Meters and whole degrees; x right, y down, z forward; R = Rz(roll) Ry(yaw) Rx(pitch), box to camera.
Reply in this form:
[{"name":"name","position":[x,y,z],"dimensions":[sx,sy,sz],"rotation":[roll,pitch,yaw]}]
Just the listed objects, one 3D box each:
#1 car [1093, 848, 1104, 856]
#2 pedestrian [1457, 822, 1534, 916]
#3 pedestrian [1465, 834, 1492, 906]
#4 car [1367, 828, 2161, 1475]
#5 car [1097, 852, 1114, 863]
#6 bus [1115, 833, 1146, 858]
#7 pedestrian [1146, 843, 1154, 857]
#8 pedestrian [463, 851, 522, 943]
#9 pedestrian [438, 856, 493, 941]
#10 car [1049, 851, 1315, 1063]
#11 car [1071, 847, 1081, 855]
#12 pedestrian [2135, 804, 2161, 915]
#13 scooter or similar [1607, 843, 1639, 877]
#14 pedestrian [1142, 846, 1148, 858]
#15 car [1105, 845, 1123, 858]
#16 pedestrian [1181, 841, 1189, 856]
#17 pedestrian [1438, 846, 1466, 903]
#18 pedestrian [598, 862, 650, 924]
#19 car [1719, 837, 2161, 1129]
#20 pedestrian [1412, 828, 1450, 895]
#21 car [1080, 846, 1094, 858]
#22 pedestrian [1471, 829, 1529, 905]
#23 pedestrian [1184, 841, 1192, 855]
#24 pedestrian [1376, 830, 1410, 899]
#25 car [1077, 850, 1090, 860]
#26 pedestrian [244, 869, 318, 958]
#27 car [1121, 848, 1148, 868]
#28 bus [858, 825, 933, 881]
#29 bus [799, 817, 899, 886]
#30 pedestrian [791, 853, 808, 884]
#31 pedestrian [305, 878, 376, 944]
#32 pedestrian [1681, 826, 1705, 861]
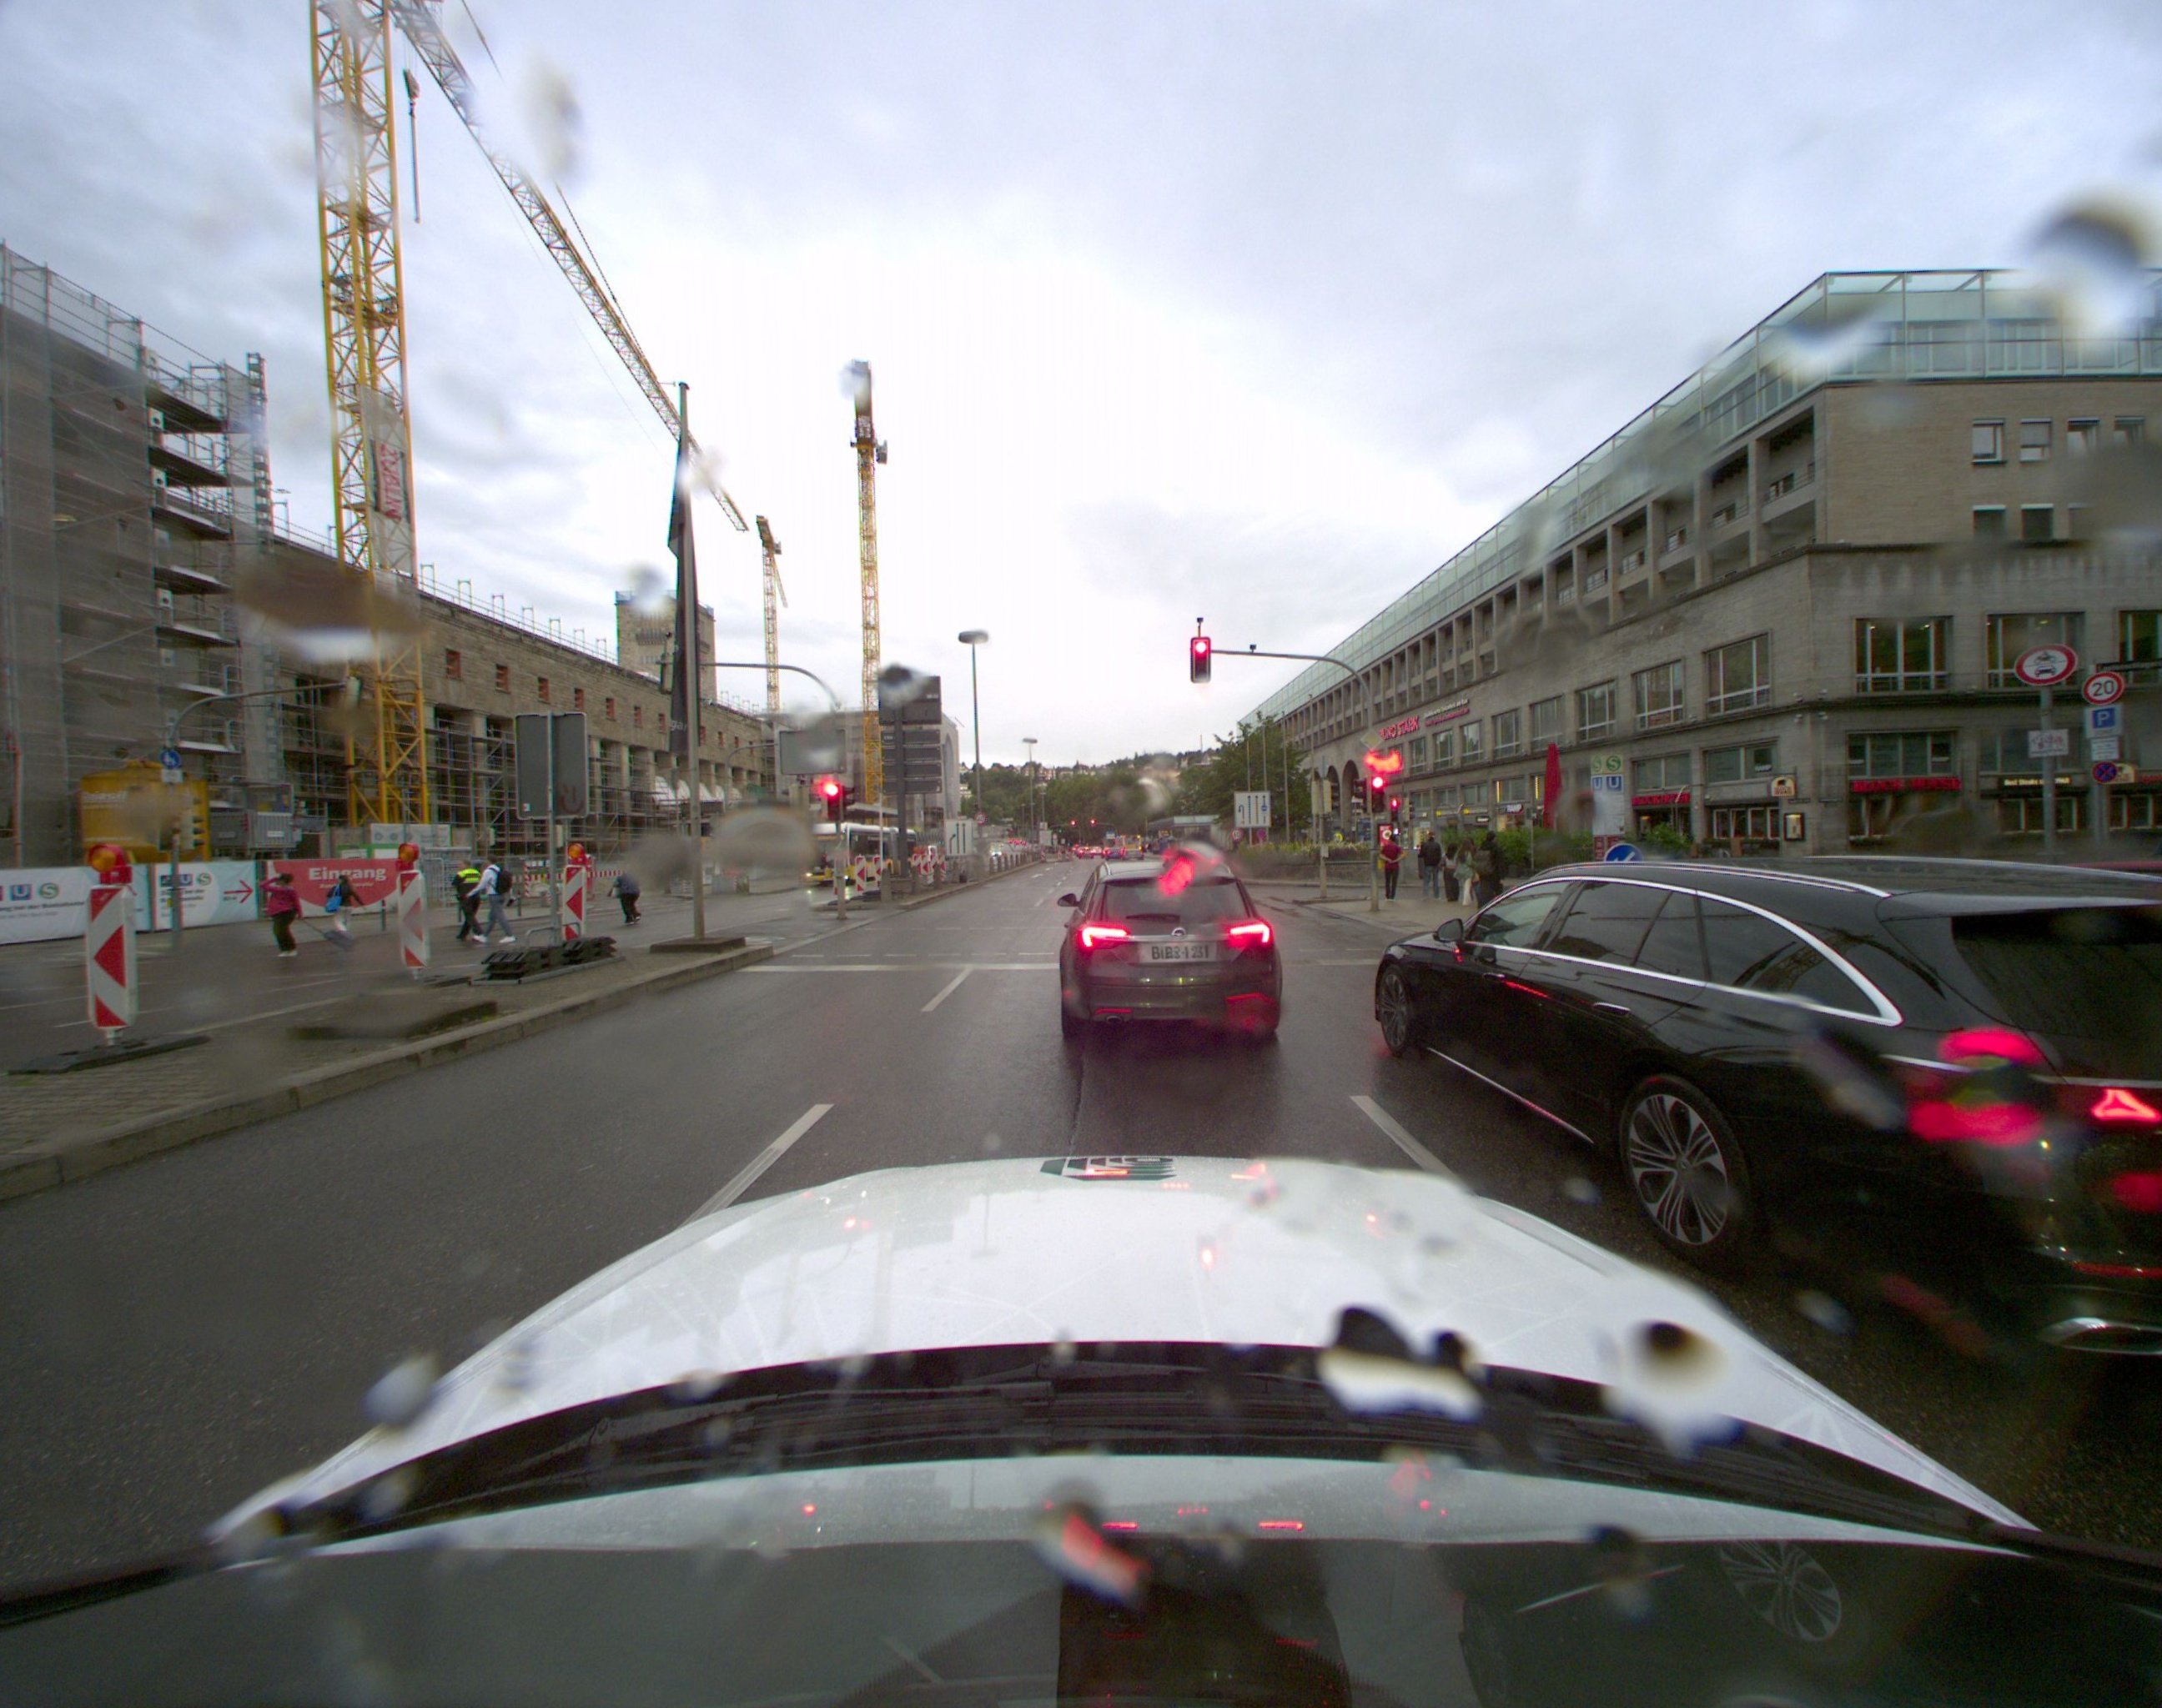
[{"name":"car","position":[2.953,-0.389,139.909],"dimensions":[1.839,1.398,3.565],"rotation":[0,0,2]},{"name":"pedestrian","position":[8.126,0.295,16.001],"dimensions":[1.093,1.751,0.653],"rotation":[-3,-1,-1]},{"name":"pedestrian","position":[9.992,0.398,20.475],"dimensions":[0.477,1.751,0.670],"rotation":[-4,-1,22]},{"name":"car","position":[3.117,0.697,4.201],"dimensions":[1.787,1.501,4.630],"rotation":[0,0,2]},{"name":"car","position":[3.214,0.518,107.832],"dimensions":[1.751,1.398,4.391],"rotation":[0,0,-7]},{"name":"bus","position":[7.221,-1.119,120.940],"dimensions":[4.158,3.469,14.660],"rotation":[0,0,2]},{"name":"pedestrian","position":[11.525,-0.639,135.892],"dimensions":[1.194,2.435,1.229],"rotation":[0,-1,3]},{"name":"pedestrian","position":[-12.334,0.883,17.083],"dimensions":[0.798,1.890,0.618],"rotation":[0,-1,-7]},{"name":"pedestrian","position":[-13.641,0.965,18.081],"dimensions":[0.576,1.836,0.820],"rotation":[0,-1,2]},{"name":"car","position":[0.758,0.735,7.739],"dimensions":[1.868,1.486,4.001],"rotation":[0,0,1]},{"name":"car","position":[-0.942,-0.616,150.222],"dimensions":[1.752,1.398,3.565],"rotation":[0,0,2]},{"name":"pedestrian","position":[17.485,0.083,12.971],"dimensions":[0.770,1.756,0.507],"rotation":[-1,-1,45]},{"name":"scooter or similar","position":[19.372,0.200,29.122],"dimensions":[0.290,1.189,1.014],"rotation":[0,-1,-17]},{"name":"pedestrian","position":[11.746,-0.428,149.672],"dimensions":[1.194,2.149,1.229],"rotation":[0,-1,3]},{"name":"car","position":[3.609,-0.263,90.033],"dimensions":[1.748,1.398,4.647],"rotation":[0,0,-1]},{"name":"pedestrian","position":[12.143,-0.619,95.320],"dimensions":[0.761,1.690,0.824],"rotation":[0,-1,-3]},{"name":"pedestrian","position":[9.456,0.510,20.765],"dimensions":[0.625,1.428,0.492],"rotation":[-1,-1,24]},{"name":"pedestrian","position":[-11.908,1.004,21.235],"dimensions":[0.866,1.561,0.790],"rotation":[0,-1,16]},{"name":"car","position":[6.461,0.656,4.838],"dimensions":[1.868,1.486,4.527],"rotation":[0,0,1]},{"name":"pedestrian","position":[9.066,0.195,21.113],"dimensions":[0.753,1.717,0.466],"rotation":[0,-1,-2]},{"name":"car","position":[0.796,-0.222,103.939],"dimensions":[1.747,1.398,4.538],"rotation":[0,0,0]},{"name":"pedestrian","position":[9.285,0.284,18.080],"dimensions":[0.791,1.626,0.899],"rotation":[0,-1,-2]},{"name":"pedestrian","position":[12.388,-0.688,94.082],"dimensions":[0.761,1.690,0.824],"rotation":[0,-1,-3]},{"name":"pedestrian","position":[8.104,0.276,21.151],"dimensions":[0.563,1.752,0.684],"rotation":[-1,-1,44]},{"name":"car","position":[0.401,0.146,121.148],"dimensions":[1.839,1.398,3.565],"rotation":[0,0,2]},{"name":"pedestrian","position":[-16.058,1.180,16.360],"dimensions":[0.797,1.717,0.619],"rotation":[-3,0,-2]},{"name":"car","position":[3.858,0.260,58.971],"dimensions":[1.838,1.398,3.668],"rotation":[0,0,2]},{"name":"bus","position":[-13.083,-0.047,58.398],"dimensions":[2.658,3.602,10.215],"rotation":[0,0,2]},{"name":"bus","position":[-13.407,-0.097,48.147],"dimensions":[2.658,3.602,10.243],"rotation":[0,0,2]},{"name":"pedestrian","position":[-15.610,0.804,45.152],"dimensions":[0.657,1.680,0.644],"rotation":[0,-1,2]},{"name":"pedestrian","position":[-18.261,1.391,20.107],"dimensions":[0.912,1.563,0.899],"rotation":[0,-1,-2]},{"name":"pedestrian","position":[26.849,-0.452,35.700],"dimensions":[0.750,1.512,0.721],"rotation":[-1,-1,43]}]
